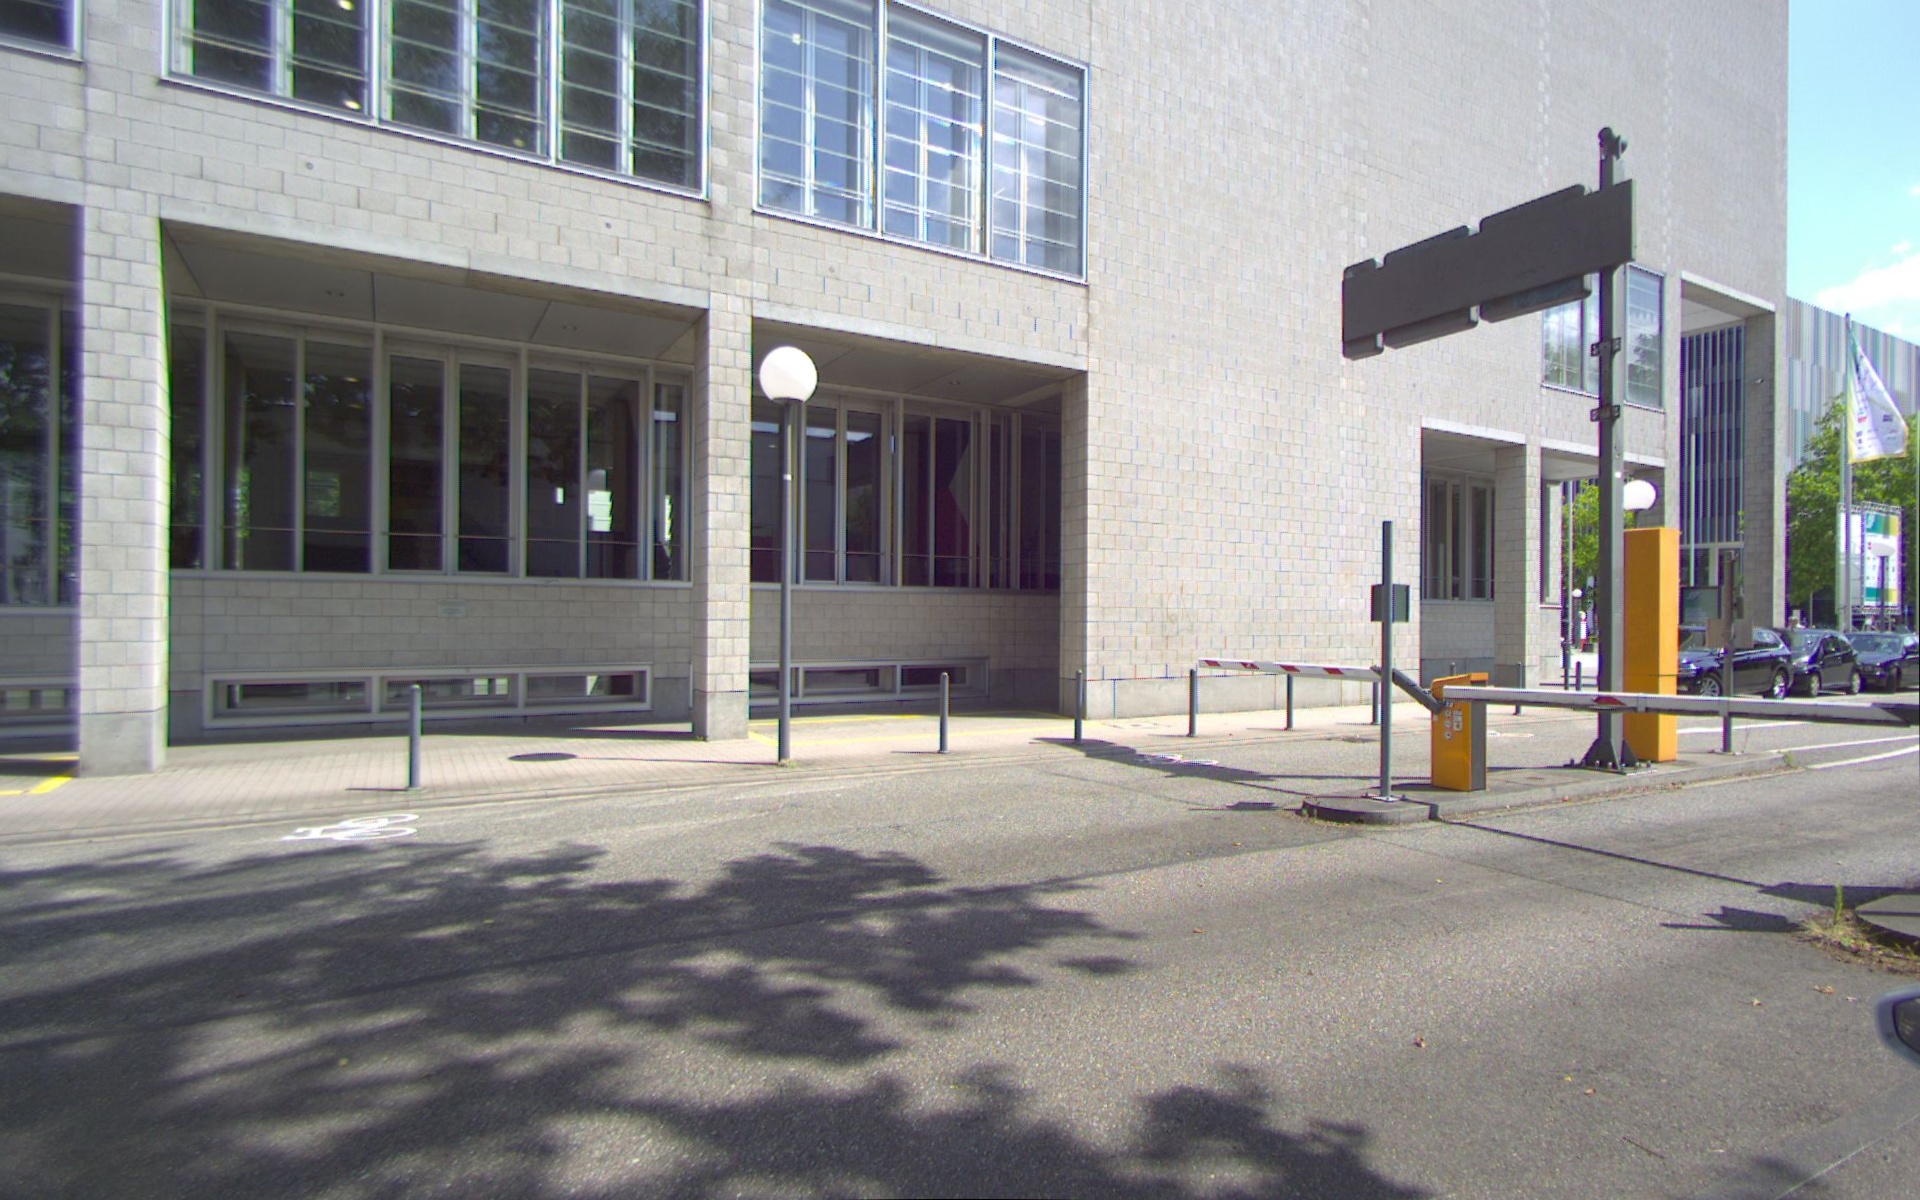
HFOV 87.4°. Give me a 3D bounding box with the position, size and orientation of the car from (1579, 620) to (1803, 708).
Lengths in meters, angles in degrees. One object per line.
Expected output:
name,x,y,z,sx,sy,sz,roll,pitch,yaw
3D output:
car,14.441,1.189,19.788,4.664,1.487,1.850,1,1,-31

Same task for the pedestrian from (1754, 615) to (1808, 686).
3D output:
pedestrian,24.435,1.485,29.892,1.153,2.040,0.978,1,-1,-34

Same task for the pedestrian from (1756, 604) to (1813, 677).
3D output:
pedestrian,23.651,1.147,28.817,1.153,2.040,0.978,1,-1,-34

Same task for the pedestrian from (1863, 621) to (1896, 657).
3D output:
pedestrian,49.191,2.058,53.728,0.988,1.901,0.854,0,-1,-7

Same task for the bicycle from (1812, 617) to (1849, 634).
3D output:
bicycle,70.073,2.046,80.871,1.351,1.254,2.950,1,0,23

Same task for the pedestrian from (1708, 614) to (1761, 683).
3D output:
pedestrian,23.653,1.461,30.663,1.153,2.040,0.978,1,-1,-34

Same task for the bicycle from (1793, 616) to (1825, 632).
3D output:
bicycle,69.077,1.967,81.743,1.178,1.254,2.949,1,0,23

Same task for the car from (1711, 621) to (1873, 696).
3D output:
car,18.660,1.266,22.513,3.664,1.487,1.630,1,1,-31

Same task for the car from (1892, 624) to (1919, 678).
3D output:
car,29.016,1.502,29.095,4.145,1.487,1.740,1,1,-29

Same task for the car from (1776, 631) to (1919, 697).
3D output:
car,22.558,1.523,24.908,4.954,1.396,1.851,1,1,-29

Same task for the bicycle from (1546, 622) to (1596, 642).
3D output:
bicycle,37.361,1.964,61.484,0.657,1.128,2.594,1,0,-31
